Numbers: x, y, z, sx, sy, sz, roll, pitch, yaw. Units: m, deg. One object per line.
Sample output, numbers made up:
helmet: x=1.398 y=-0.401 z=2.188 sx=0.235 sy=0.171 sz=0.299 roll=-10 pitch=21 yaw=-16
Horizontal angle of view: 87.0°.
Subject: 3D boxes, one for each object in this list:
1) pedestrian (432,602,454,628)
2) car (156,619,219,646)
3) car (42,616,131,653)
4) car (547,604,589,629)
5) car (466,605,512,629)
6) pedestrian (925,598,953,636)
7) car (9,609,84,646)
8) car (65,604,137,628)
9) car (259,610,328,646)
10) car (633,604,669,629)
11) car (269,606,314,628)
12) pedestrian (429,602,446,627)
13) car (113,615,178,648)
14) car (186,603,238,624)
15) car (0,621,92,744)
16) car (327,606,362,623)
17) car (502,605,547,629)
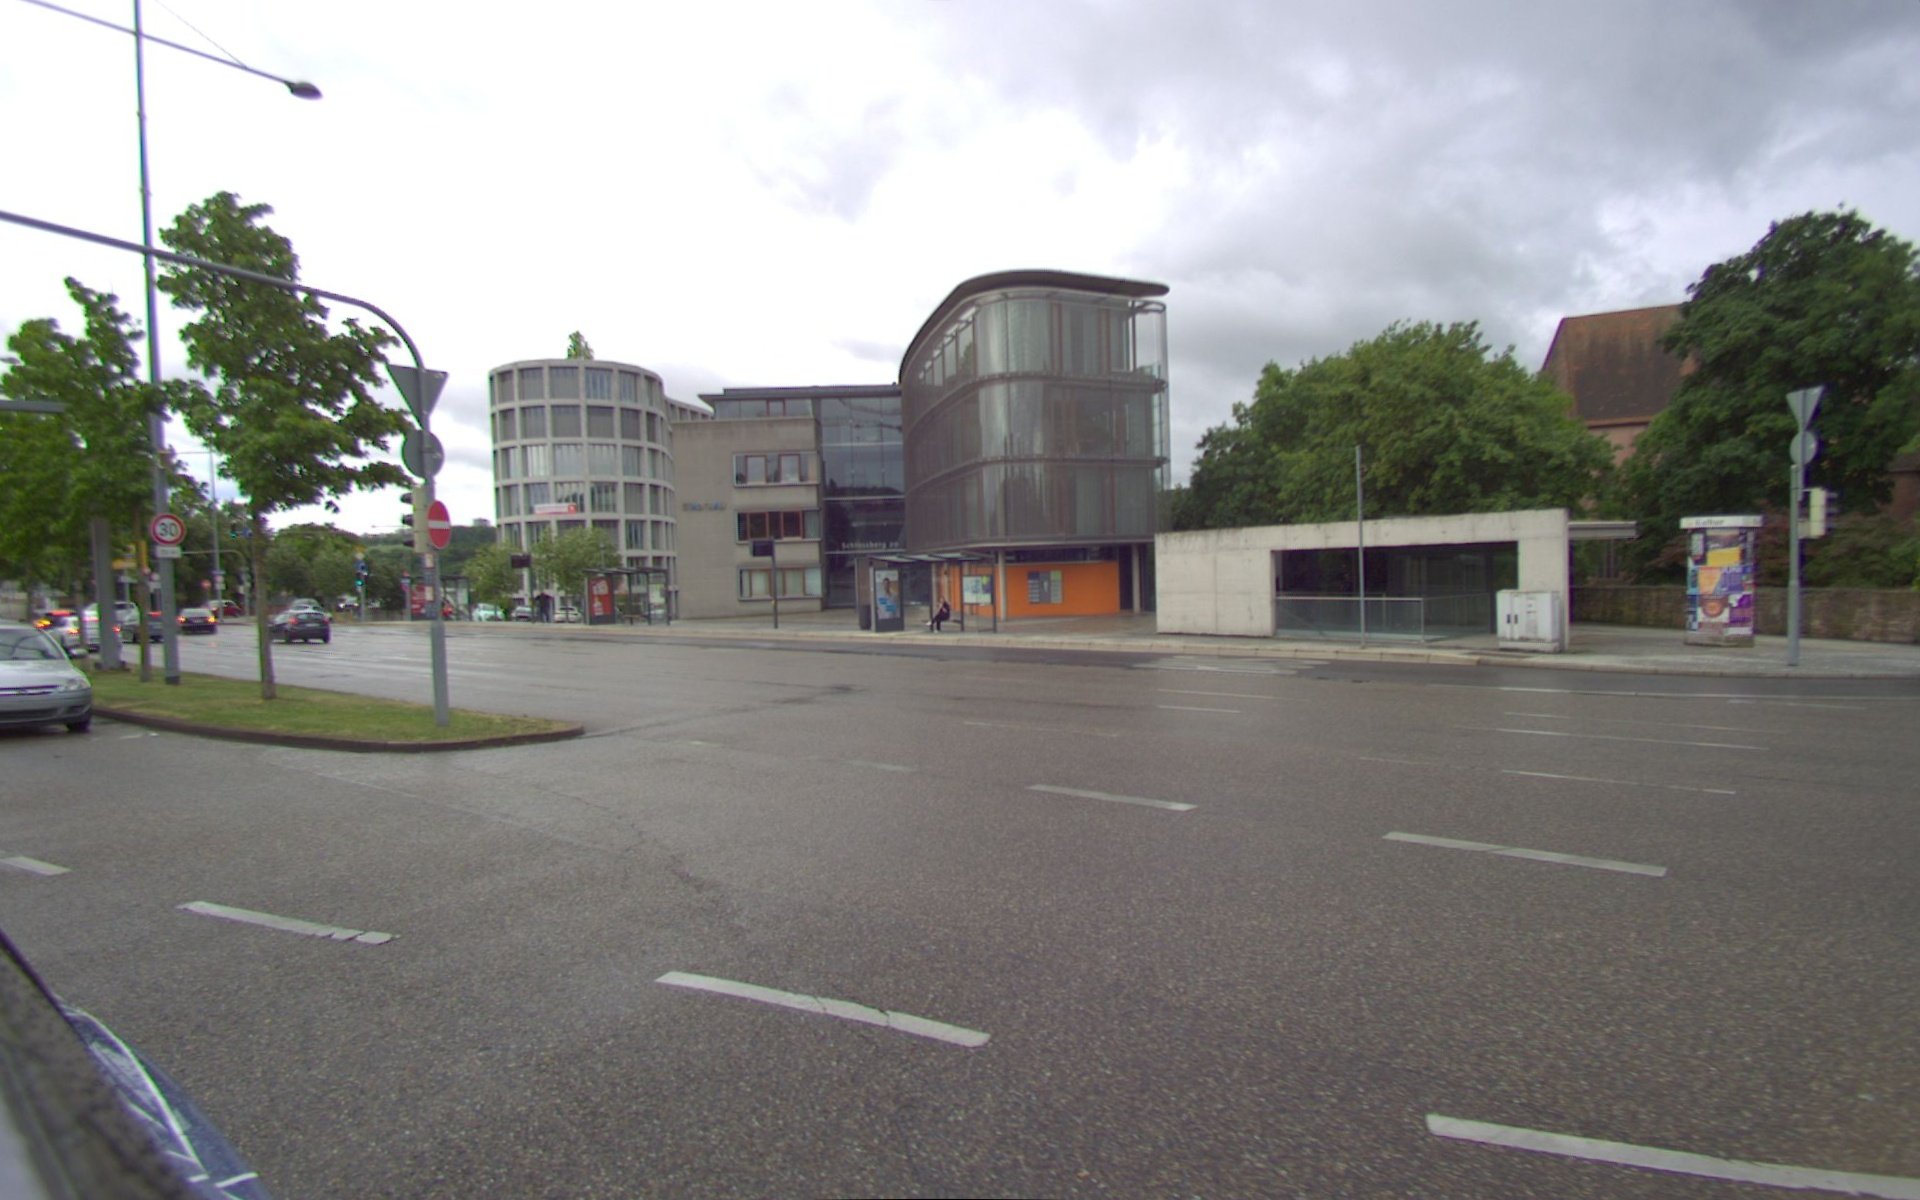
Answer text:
pedestrian: x=-30.562 y=0.869 z=59.834 sx=0.969 sy=1.501 sz=0.735 roll=0 pitch=-1 yaw=-42
car: x=-43.695 y=1.806 z=57.216 sx=3.995 sy=1.433 sz=1.936 roll=0 pitch=-1 yaw=39
car: x=-35.155 y=1.361 z=40.702 sx=4.159 sy=1.363 sz=1.985 roll=0 pitch=-1 yaw=38
car: x=-28.329 y=1.184 z=73.258 sx=1.847 sy=1.715 sz=4.164 roll=-1 pitch=0 yaw=-7
car: x=-33.787 y=1.210 z=72.685 sx=1.847 sy=1.715 sz=4.164 roll=0 pitch=0 yaw=-7
pedestrian: x=-0.724 y=0.577 z=34.978 sx=0.720 sy=1.309 sz=0.659 roll=-1 pitch=-1 yaw=43
car: x=-40.892 y=1.190 z=45.293 sx=4.162 sy=1.566 sz=1.984 roll=-1 pitch=-1 yaw=41
car: x=-60.240 y=1.089 z=71.091 sx=1.847 sy=1.646 sz=4.292 roll=0 pitch=0 yaw=-8
car: x=-29.791 y=1.230 z=45.200 sx=3.862 sy=1.524 sz=1.659 roll=-1 pitch=-1 yaw=42
car: x=-22.541 y=1.187 z=73.926 sx=1.847 sy=1.715 sz=4.164 roll=0 pitch=0 yaw=-7
car: x=-50.654 y=1.288 z=76.667 sx=4.208 sy=1.630 sz=1.934 roll=-1 pitch=-1 yaw=43
pedestrian: x=-31.220 y=0.875 z=60.508 sx=0.723 sy=1.501 sz=0.735 roll=0 pitch=-1 yaw=-44
car: x=-38.897 y=1.456 z=48.316 sx=4.449 sy=1.477 sz=1.677 roll=-1 pitch=-1 yaw=41
car: x=-61.086 y=1.115 z=82.706 sx=1.846 sy=1.646 sz=4.168 roll=-1 pitch=0 yaw=-12
car: x=-13.165 y=1.034 z=13.489 sx=3.714 sy=1.477 sz=1.679 roll=0 pitch=-1 yaw=37
car: x=-65.856 y=1.537 z=108.356 sx=1.864 sy=1.726 sz=4.227 roll=0 pitch=0 yaw=-10
car: x=-31.318 y=1.204 z=72.883 sx=1.847 sy=1.715 sz=4.164 roll=0 pitch=0 yaw=-7
